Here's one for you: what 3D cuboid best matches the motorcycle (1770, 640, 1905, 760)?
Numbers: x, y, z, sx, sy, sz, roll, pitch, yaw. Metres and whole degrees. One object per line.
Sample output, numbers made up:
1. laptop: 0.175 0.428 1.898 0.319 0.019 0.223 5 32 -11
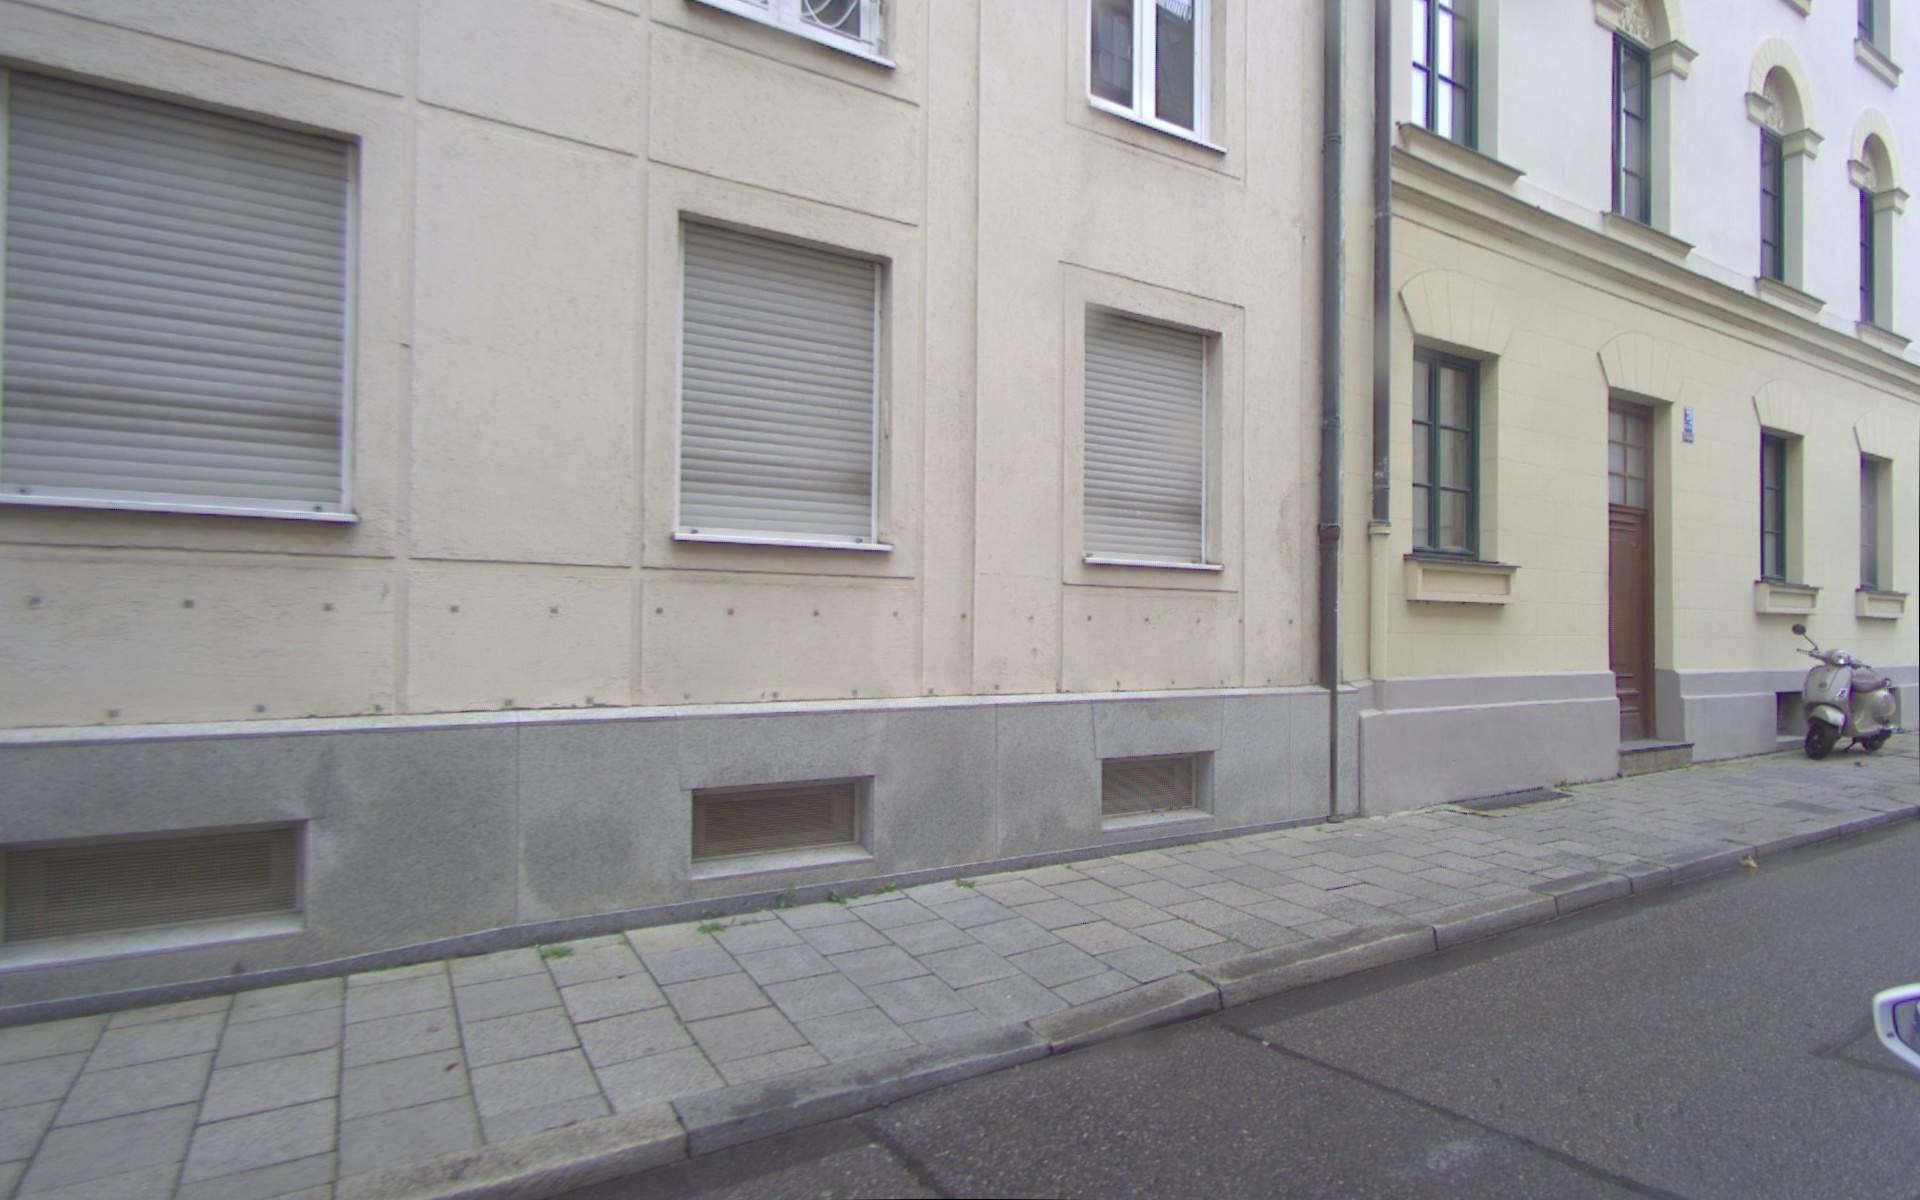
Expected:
1. motorcycle: 9.509 1.039 10.872 1.689 1.189 0.599 1 0 -31
